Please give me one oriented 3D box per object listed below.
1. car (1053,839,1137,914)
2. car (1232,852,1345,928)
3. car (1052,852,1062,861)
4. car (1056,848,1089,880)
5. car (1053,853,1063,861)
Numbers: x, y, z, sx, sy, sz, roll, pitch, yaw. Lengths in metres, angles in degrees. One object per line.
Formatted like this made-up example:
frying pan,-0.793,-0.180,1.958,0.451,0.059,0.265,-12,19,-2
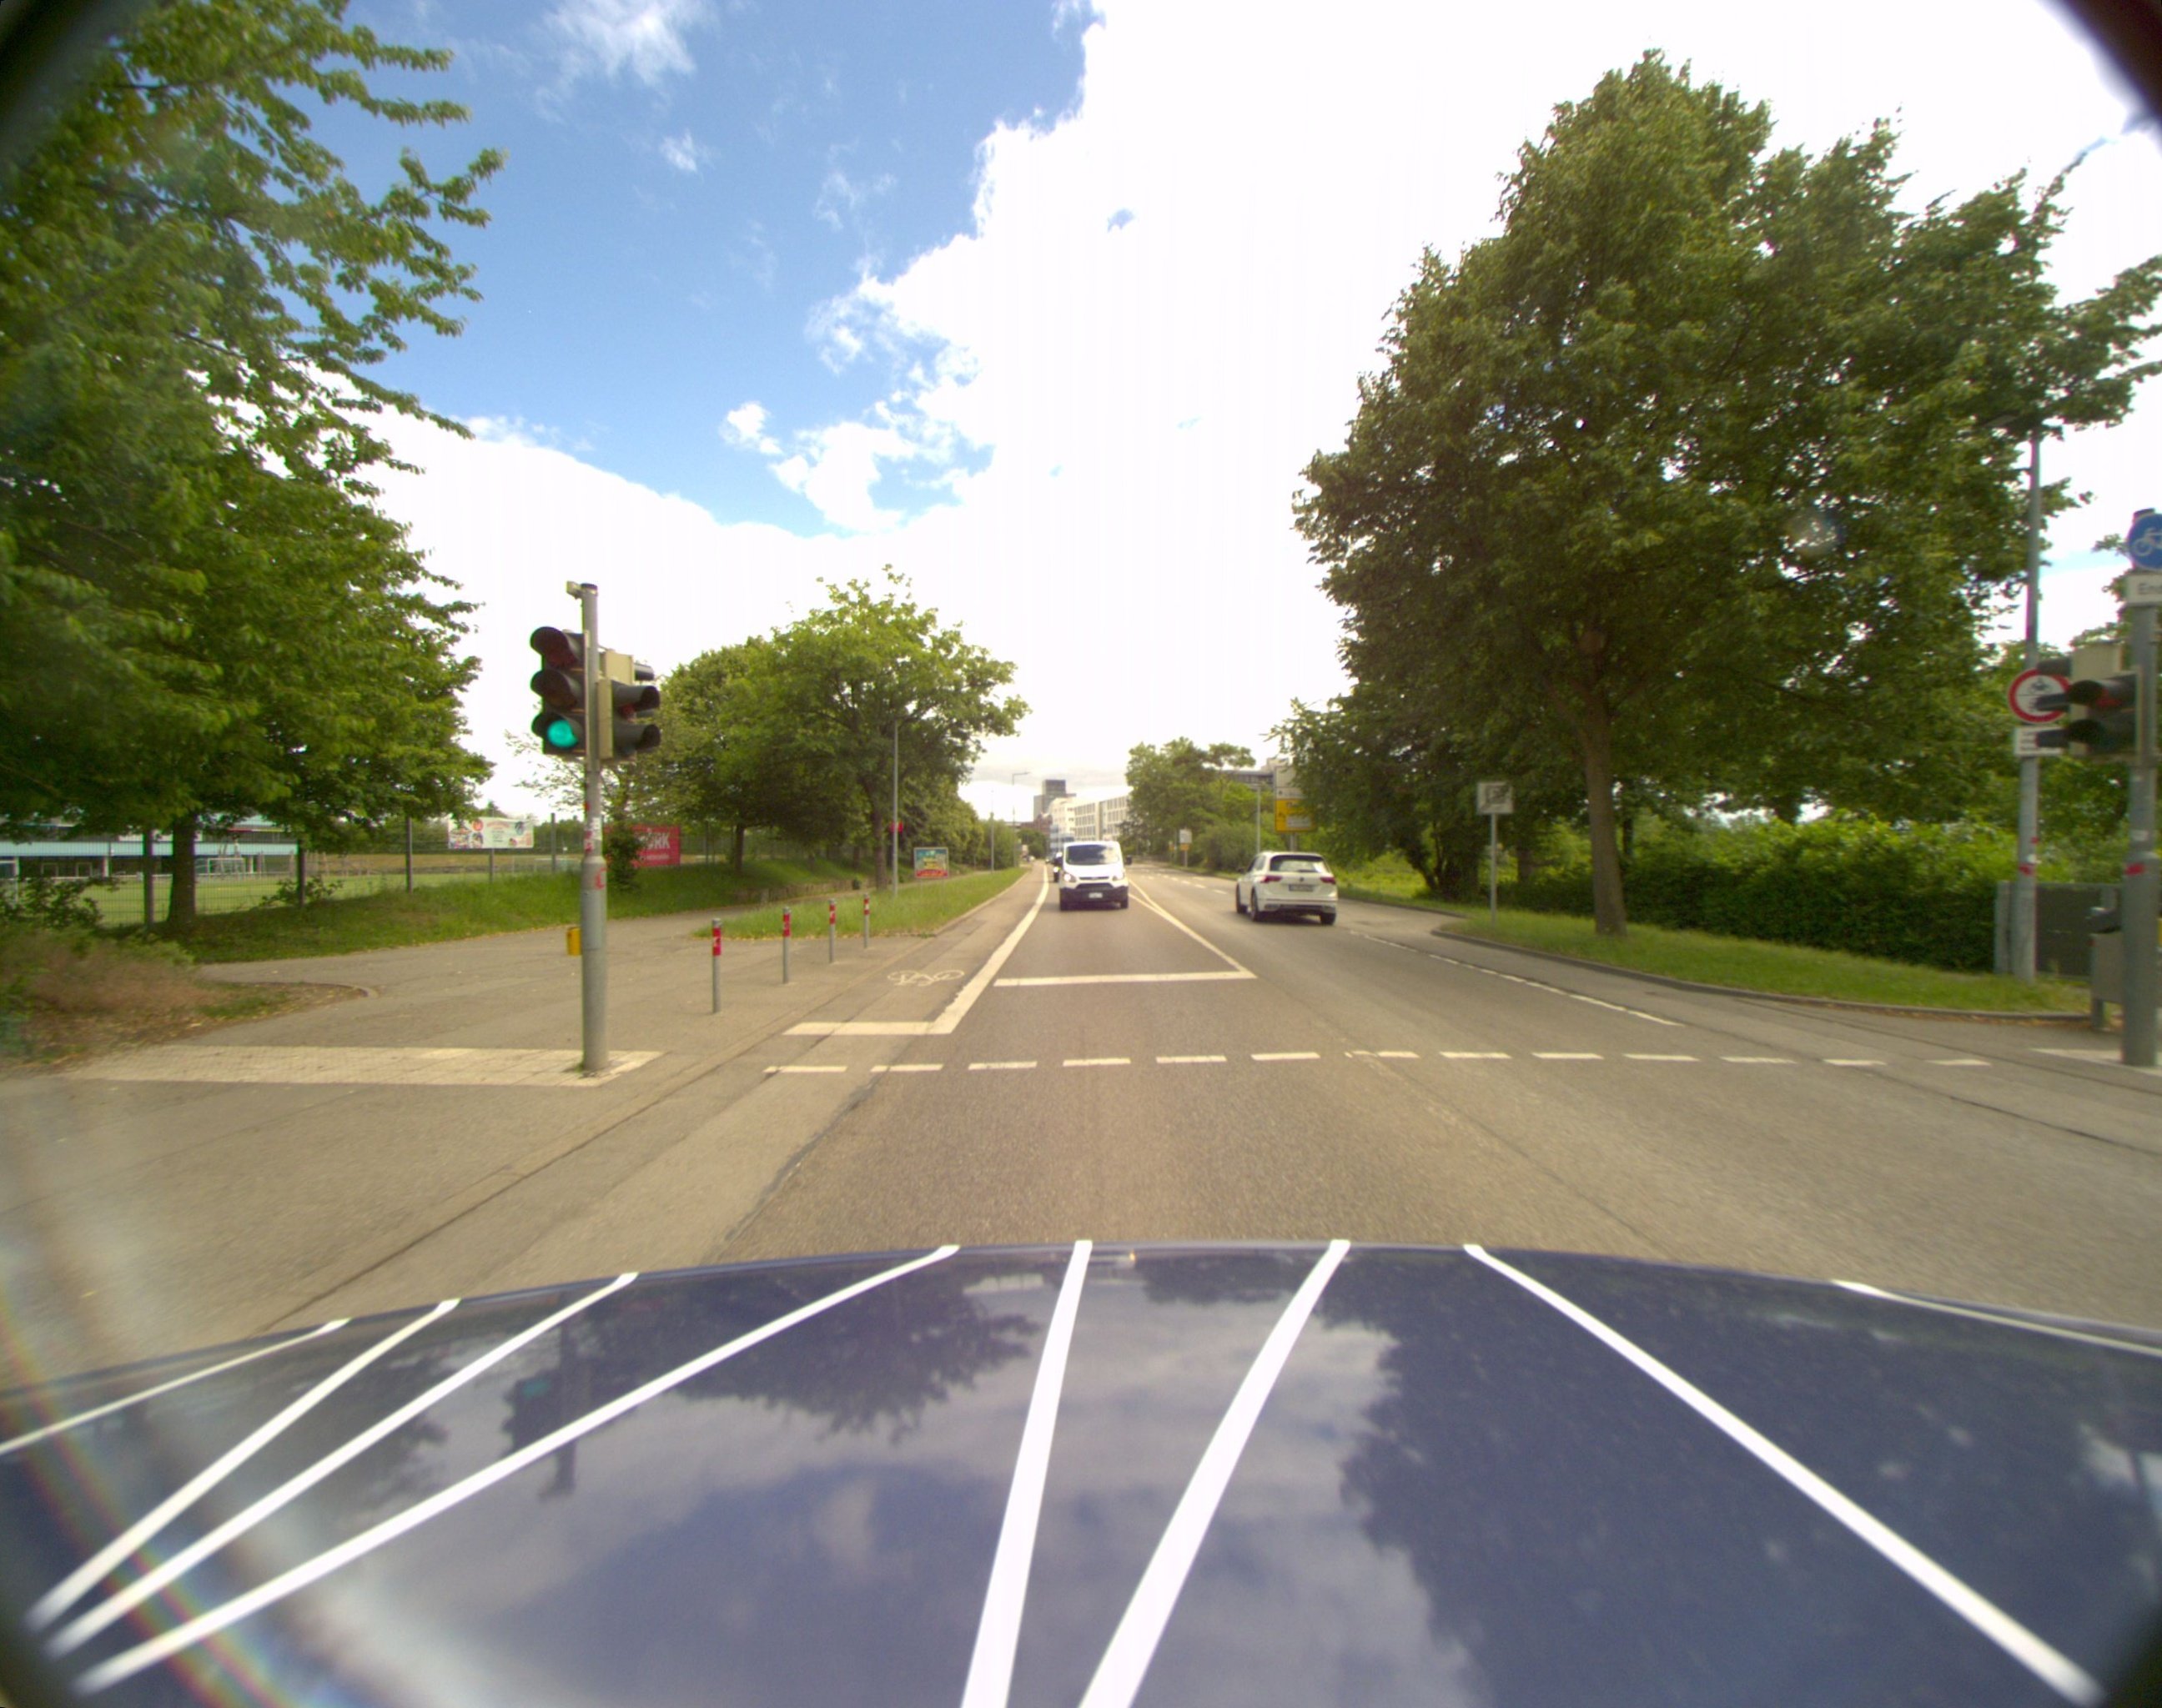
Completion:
car,0.288,0.606,23.895,2.122,1.963,6.204,-2,0,-3
car,4.916,0.772,18.628,1.879,1.625,4.342,1,0,5
car,-4.570,0.464,144.173,1.872,1.685,4.370,-2,0,-2
car,-0.547,0.579,46.723,1.872,1.836,4.370,-2,0,-1
car,-4.898,0.670,158.894,1.873,1.685,4.370,2,0,-4
